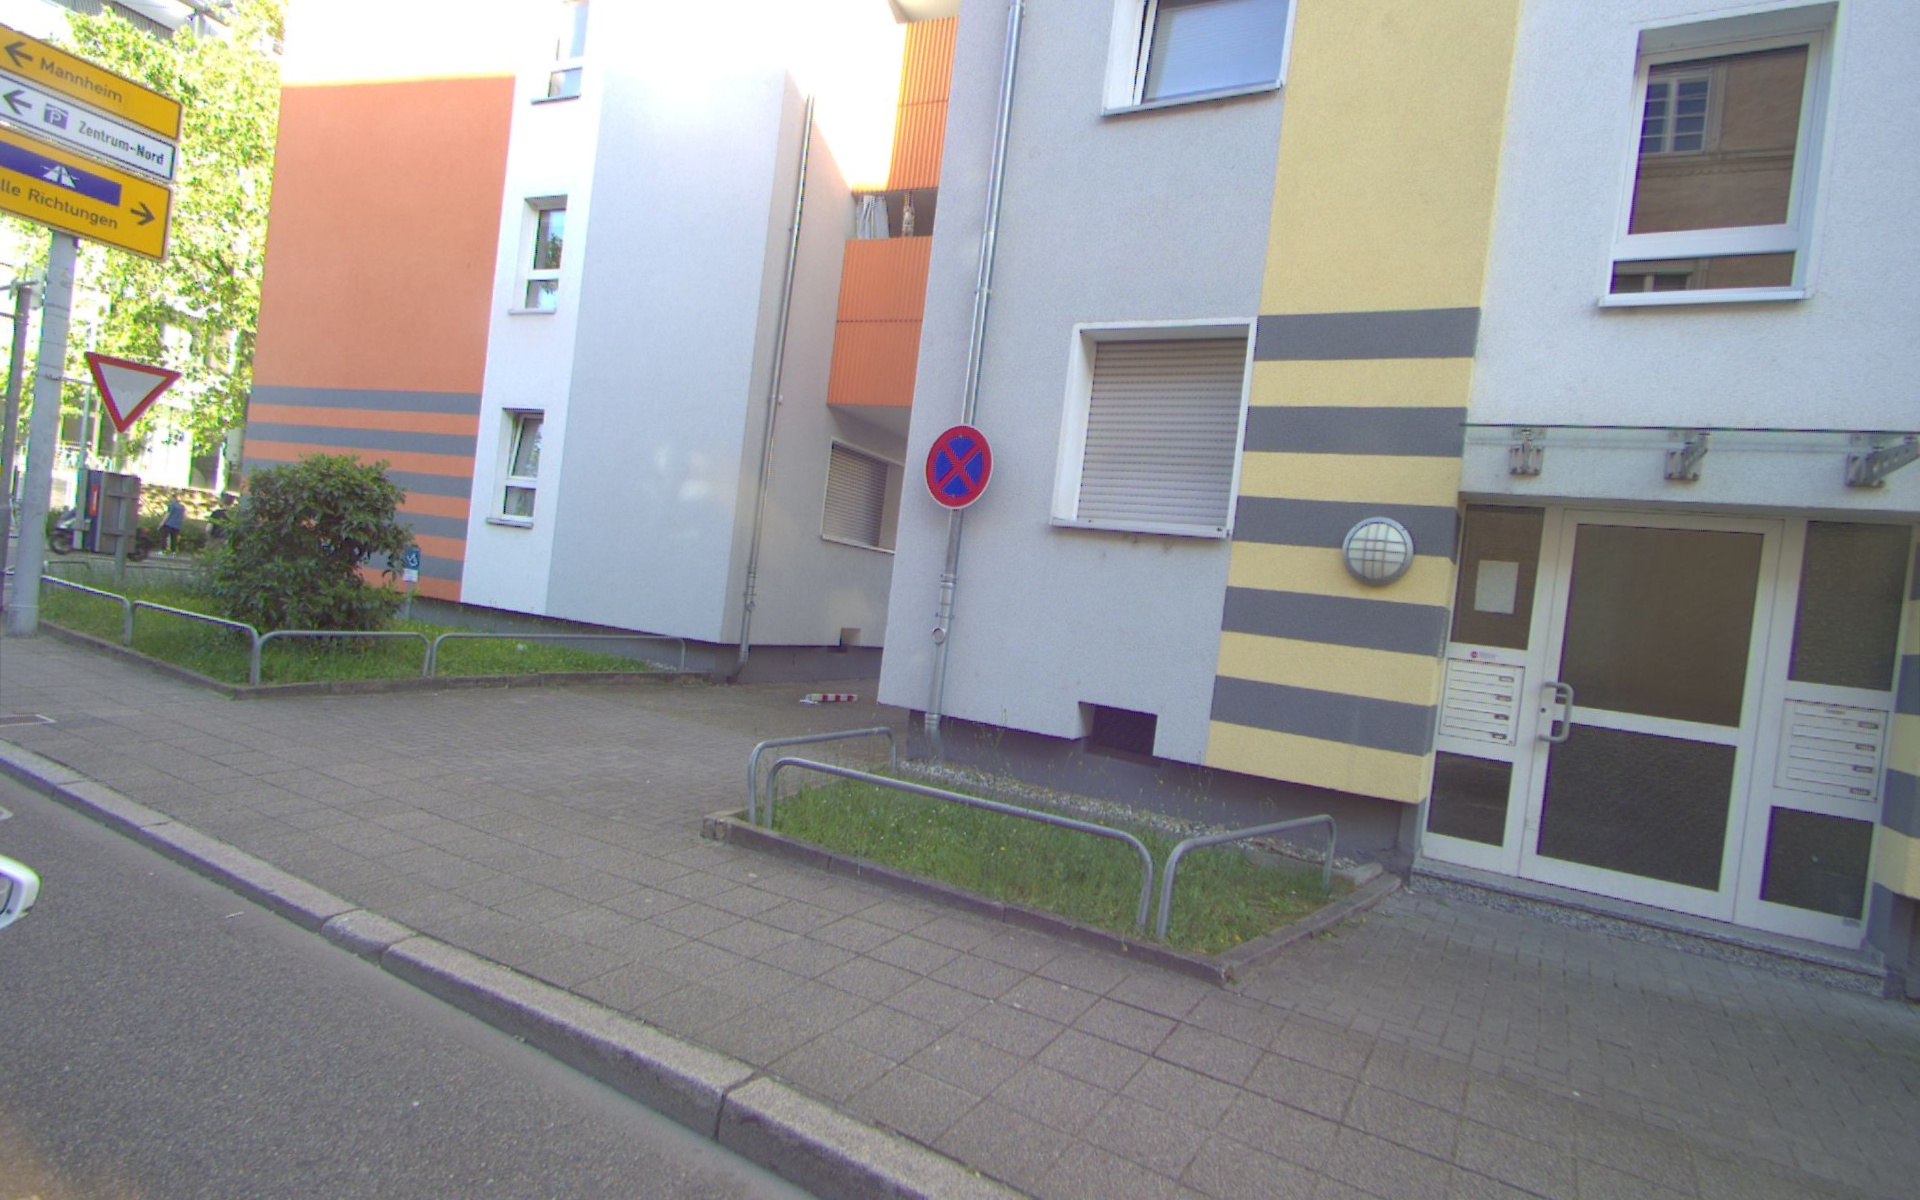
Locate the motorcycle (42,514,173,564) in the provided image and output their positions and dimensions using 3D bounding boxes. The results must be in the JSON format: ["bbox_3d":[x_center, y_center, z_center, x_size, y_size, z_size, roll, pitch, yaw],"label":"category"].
[{"bbox_3d":[-20.900,-1.476,24.725,0.806,0.899,2.305,7,0,21],"label":"motorcycle"}]

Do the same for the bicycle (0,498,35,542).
[{"bbox_3d":[-26.292,-2.248,27.356,1.658,1.063,0.508,9,2,-3],"label":"bicycle"}]

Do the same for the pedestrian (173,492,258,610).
[{"bbox_3d":[-12.658,-0.829,17.111,0.823,1.861,0.708,8,0,32],"label":"pedestrian"}]

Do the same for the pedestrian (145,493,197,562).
[{"bbox_3d":[-23.054,-2.108,29.412,0.697,1.861,0.835,8,-1,34],"label":"pedestrian"}]

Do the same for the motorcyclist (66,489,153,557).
[{"bbox_3d":[-20.867,-1.871,24.703,0.806,1.437,1.298,7,0,21],"label":"motorcyclist"}]
